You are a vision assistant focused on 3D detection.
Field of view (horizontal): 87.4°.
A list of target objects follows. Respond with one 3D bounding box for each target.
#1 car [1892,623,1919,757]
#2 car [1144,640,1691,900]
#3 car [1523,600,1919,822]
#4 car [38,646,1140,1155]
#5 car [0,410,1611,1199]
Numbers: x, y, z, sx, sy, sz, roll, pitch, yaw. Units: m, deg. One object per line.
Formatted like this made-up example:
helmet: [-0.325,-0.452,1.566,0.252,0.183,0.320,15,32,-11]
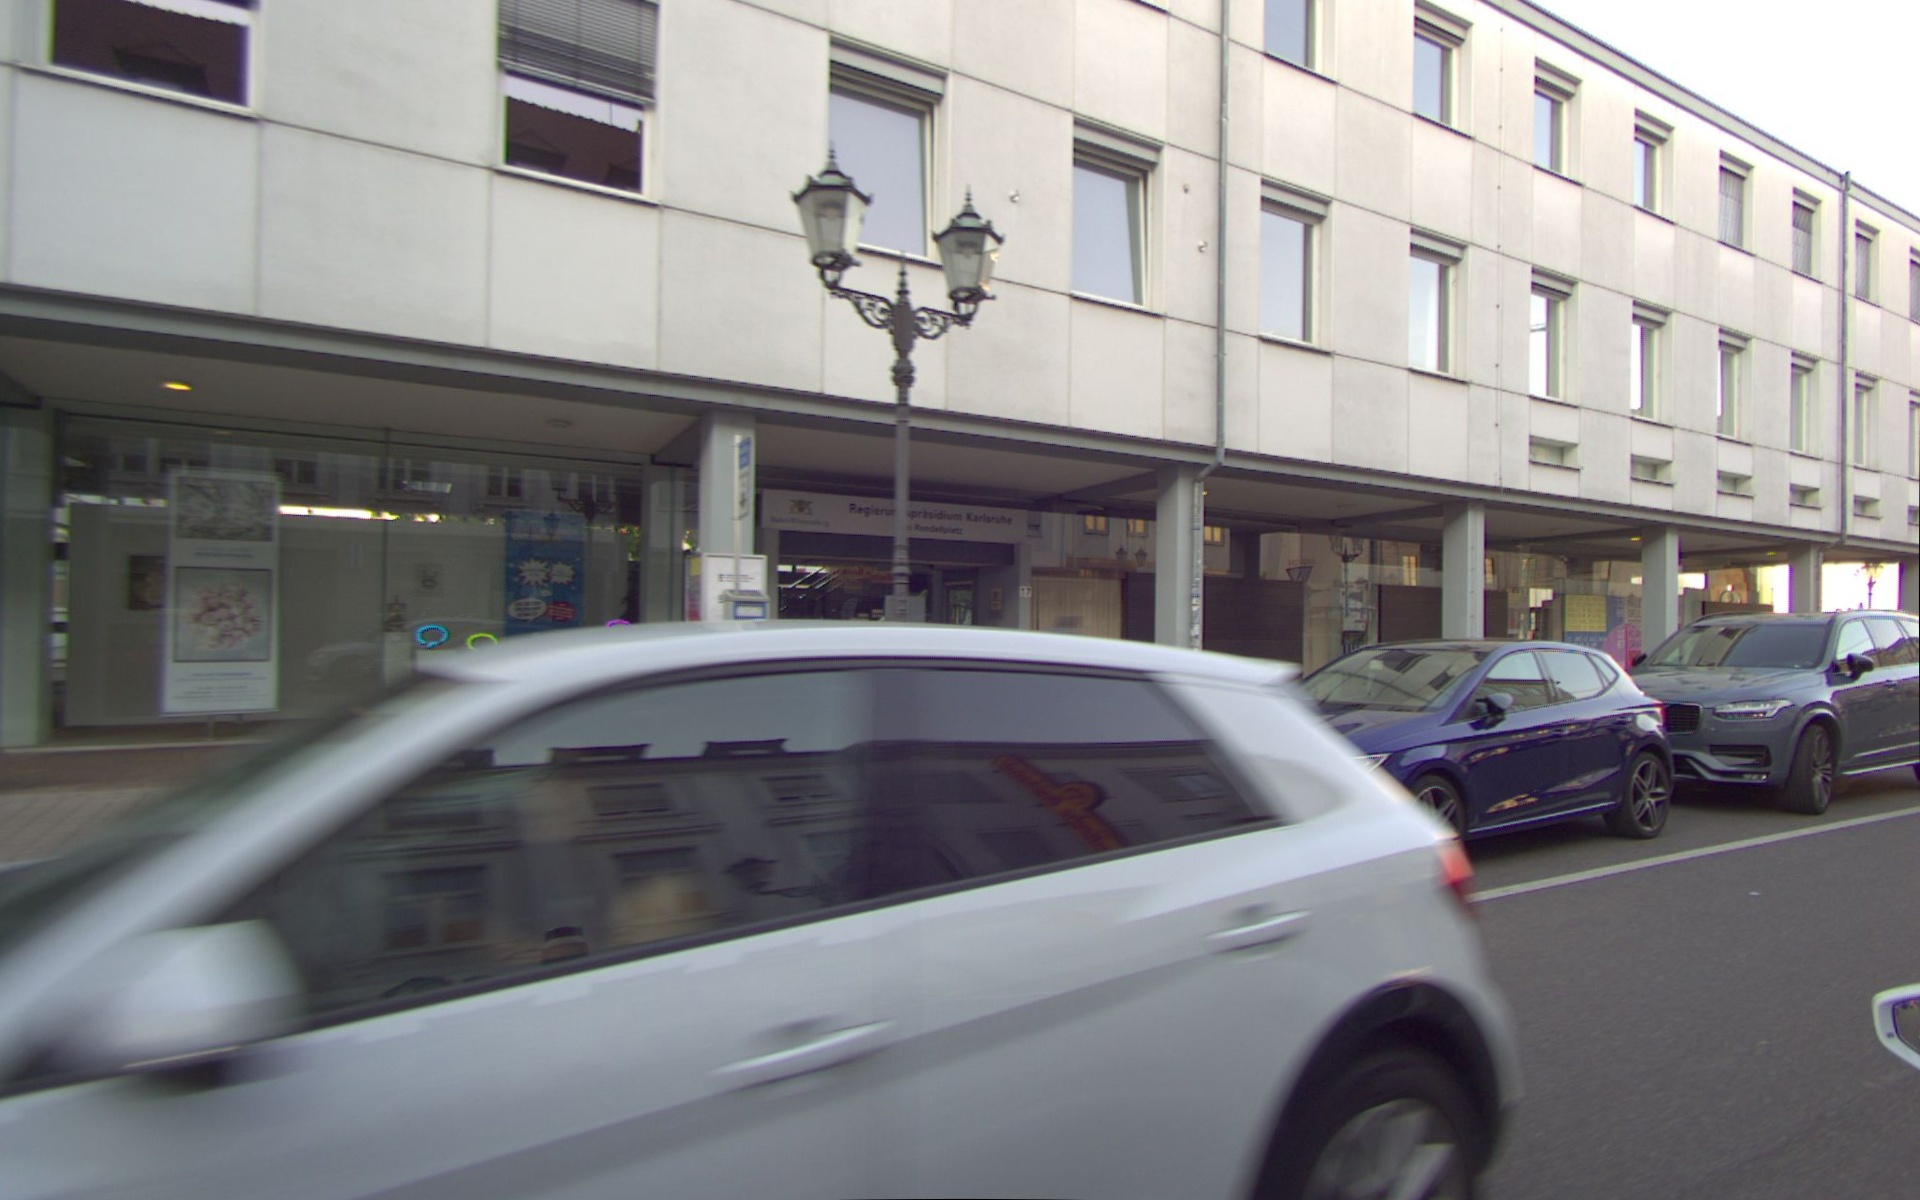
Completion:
car: [14.022,1.157,13.171,3.963,1.684,1.979,2,-2,-37]
car: [3.401,1.012,7.299,3.953,1.418,1.665,1,-2,-30]
car: [7.857,0.960,9.910,4.461,1.751,1.985,1,-3,-29]
car: [-1.341,0.933,4.687,3.951,1.372,1.985,1,-1,-29]
car: [-0.736,0.607,2.009,3.951,1.440,1.757,1,-4,-29]
